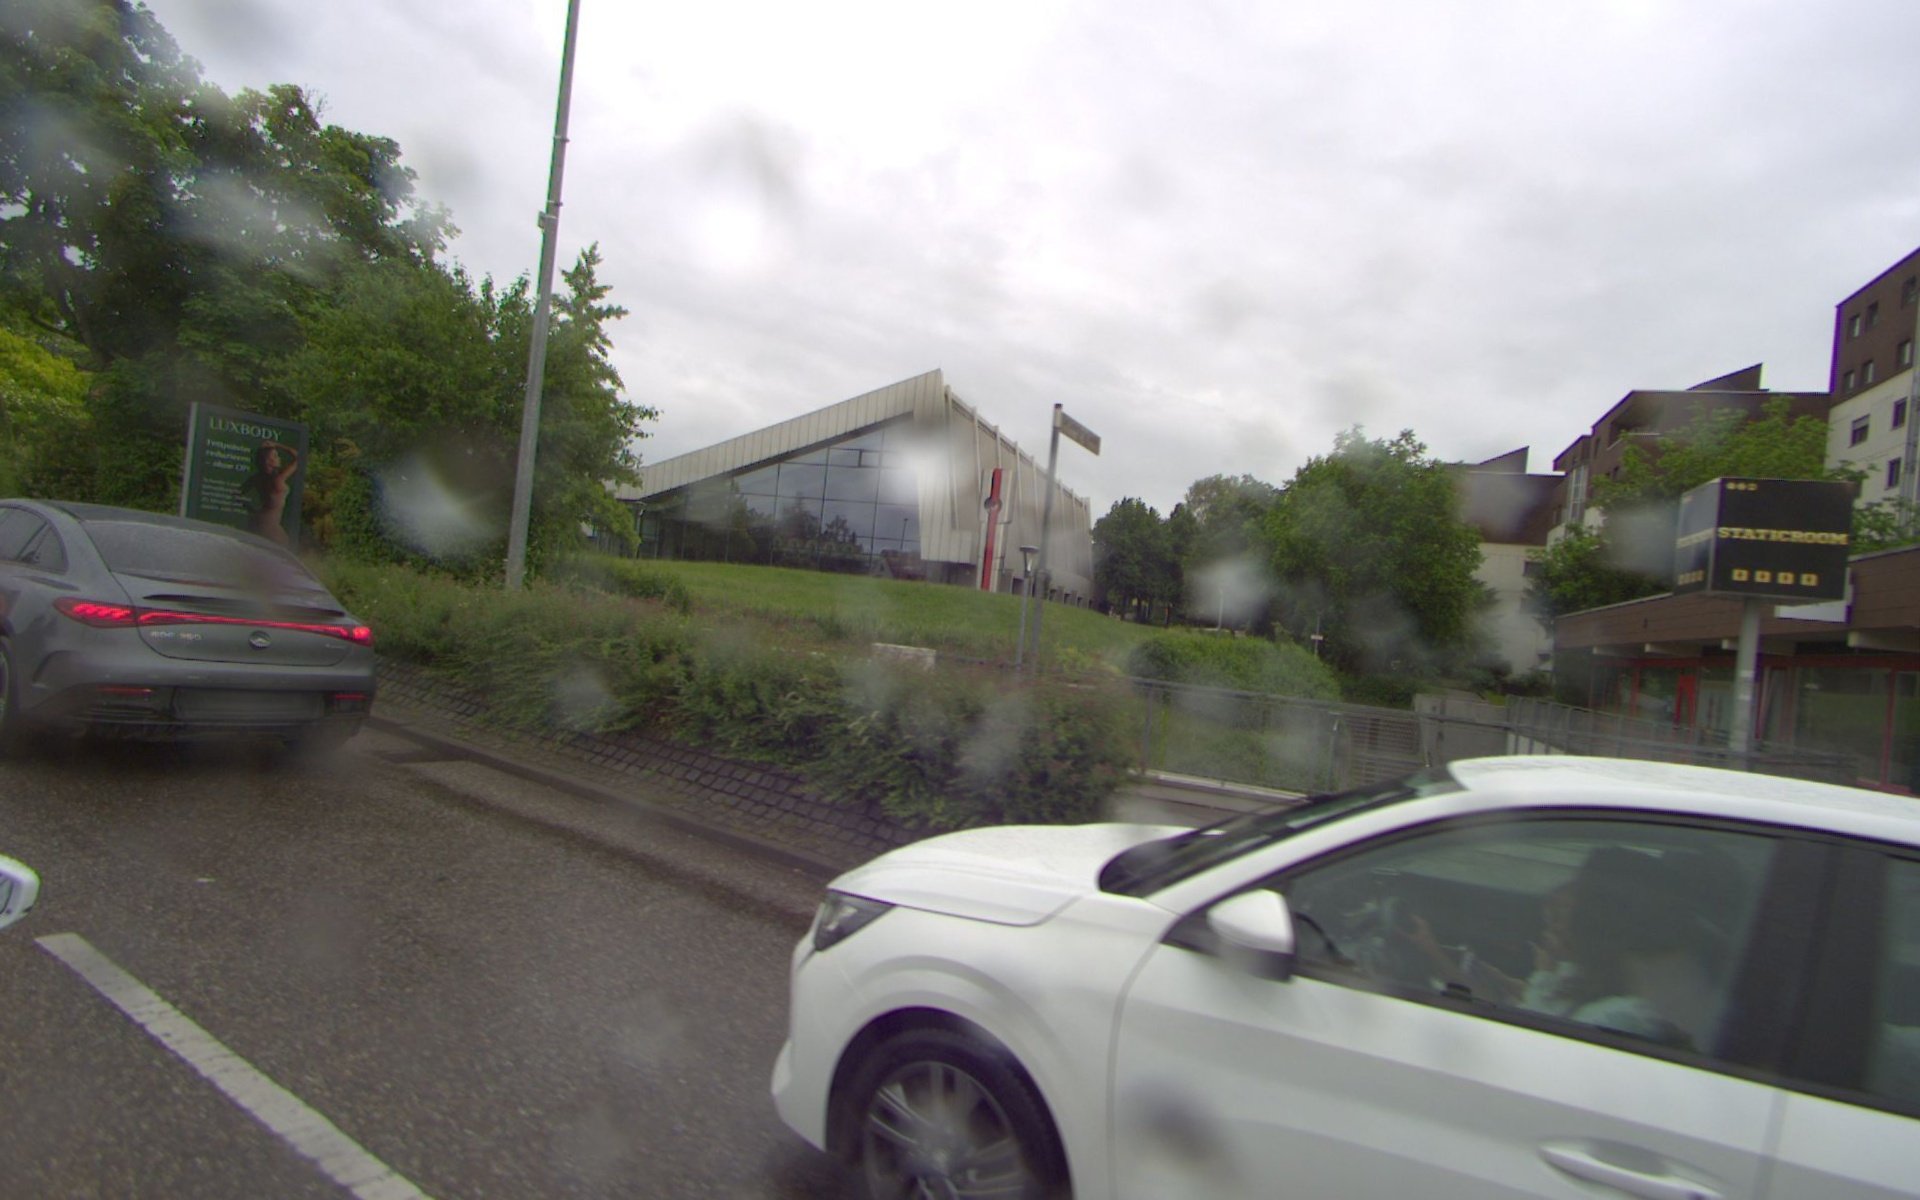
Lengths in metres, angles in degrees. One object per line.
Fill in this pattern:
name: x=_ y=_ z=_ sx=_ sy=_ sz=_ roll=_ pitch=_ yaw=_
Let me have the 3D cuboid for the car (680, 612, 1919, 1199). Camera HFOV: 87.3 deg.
car: x=1.472 y=1.022 z=2.324 sx=4.047 sy=1.432 sz=1.665 roll=7 pitch=-1 yaw=32

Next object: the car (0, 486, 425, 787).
car: x=-6.138 y=0.053 z=7.162 sx=4.728 sy=1.483 sz=1.842 roll=8 pitch=-2 yaw=31
